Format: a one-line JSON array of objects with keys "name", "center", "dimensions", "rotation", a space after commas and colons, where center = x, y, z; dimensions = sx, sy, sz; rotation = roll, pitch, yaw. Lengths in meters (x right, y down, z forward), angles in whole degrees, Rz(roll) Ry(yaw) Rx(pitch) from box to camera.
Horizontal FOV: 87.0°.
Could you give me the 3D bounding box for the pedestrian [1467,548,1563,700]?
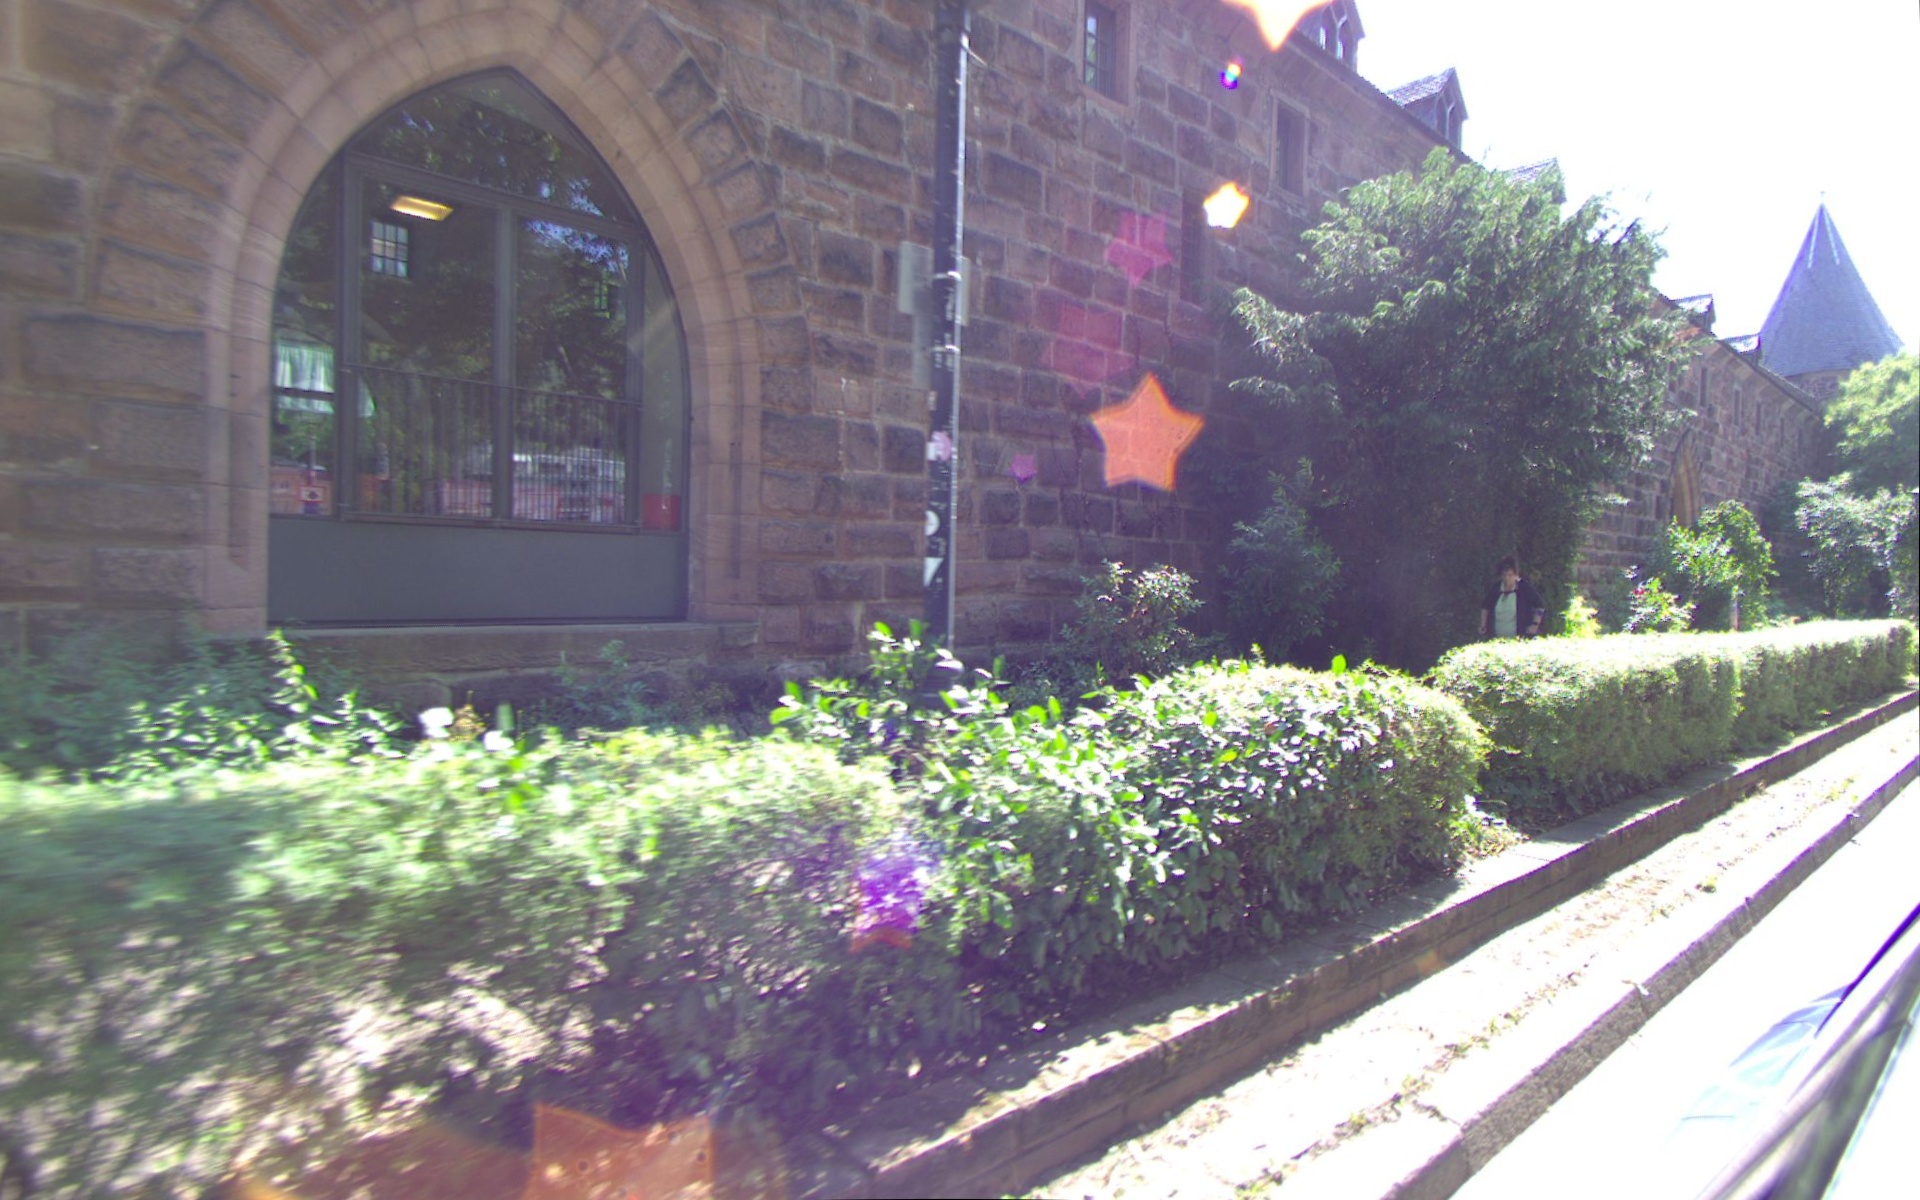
[{"name": "pedestrian", "center": [6.388, 0.251, 11.657], "dimensions": [0.692, 1.673, 0.700], "rotation": [0, 2, -38]}]
